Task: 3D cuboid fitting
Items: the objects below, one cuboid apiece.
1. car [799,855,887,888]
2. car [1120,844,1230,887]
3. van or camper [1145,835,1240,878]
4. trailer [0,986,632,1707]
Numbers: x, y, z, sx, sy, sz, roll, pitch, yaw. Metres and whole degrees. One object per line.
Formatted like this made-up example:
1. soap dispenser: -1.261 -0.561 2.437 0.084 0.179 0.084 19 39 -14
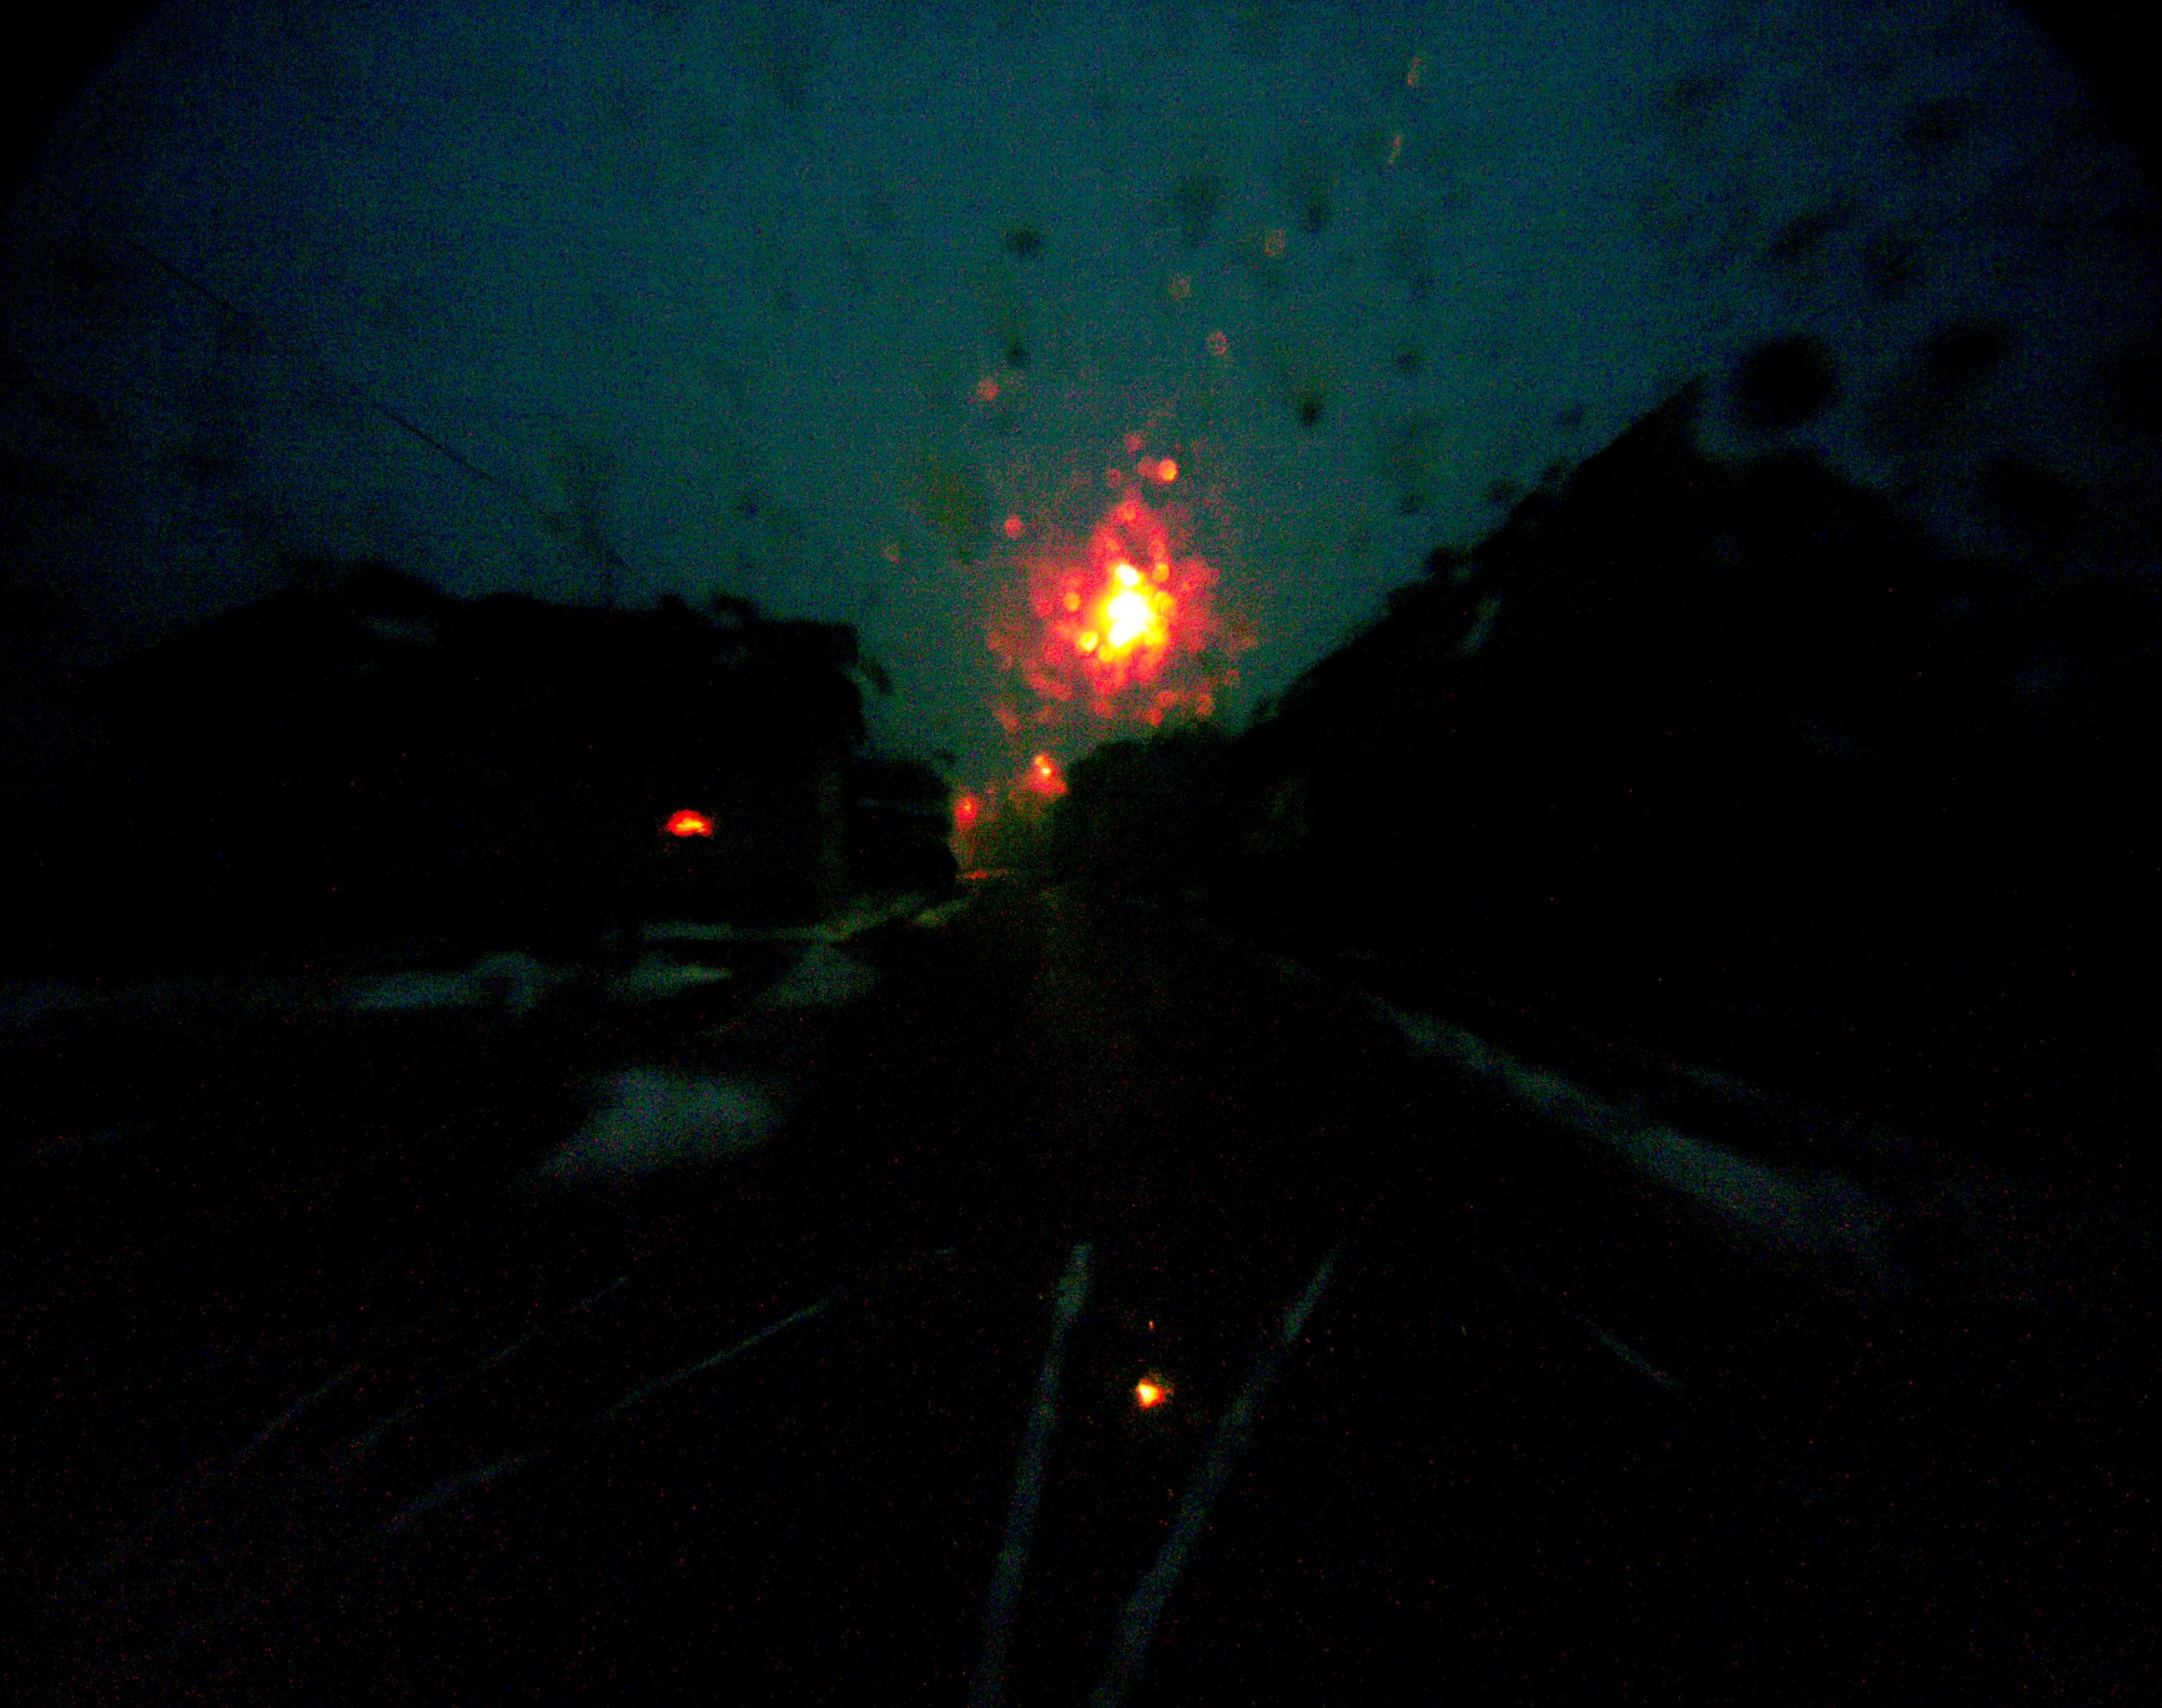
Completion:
1. car: -13.133 0.953 42.188 4.463 1.578 1.997 -3 1 -14
2. car: 4.324 0.532 35.380 4.804 1.657 1.890 -4 0 0
3. van or camper: 6.592 0.152 44.870 5.313 2.434 2.140 0 0 -29
4. trailer: -2.743 1.213 0.479 1.998 1.380 4.731 -2 0 1
